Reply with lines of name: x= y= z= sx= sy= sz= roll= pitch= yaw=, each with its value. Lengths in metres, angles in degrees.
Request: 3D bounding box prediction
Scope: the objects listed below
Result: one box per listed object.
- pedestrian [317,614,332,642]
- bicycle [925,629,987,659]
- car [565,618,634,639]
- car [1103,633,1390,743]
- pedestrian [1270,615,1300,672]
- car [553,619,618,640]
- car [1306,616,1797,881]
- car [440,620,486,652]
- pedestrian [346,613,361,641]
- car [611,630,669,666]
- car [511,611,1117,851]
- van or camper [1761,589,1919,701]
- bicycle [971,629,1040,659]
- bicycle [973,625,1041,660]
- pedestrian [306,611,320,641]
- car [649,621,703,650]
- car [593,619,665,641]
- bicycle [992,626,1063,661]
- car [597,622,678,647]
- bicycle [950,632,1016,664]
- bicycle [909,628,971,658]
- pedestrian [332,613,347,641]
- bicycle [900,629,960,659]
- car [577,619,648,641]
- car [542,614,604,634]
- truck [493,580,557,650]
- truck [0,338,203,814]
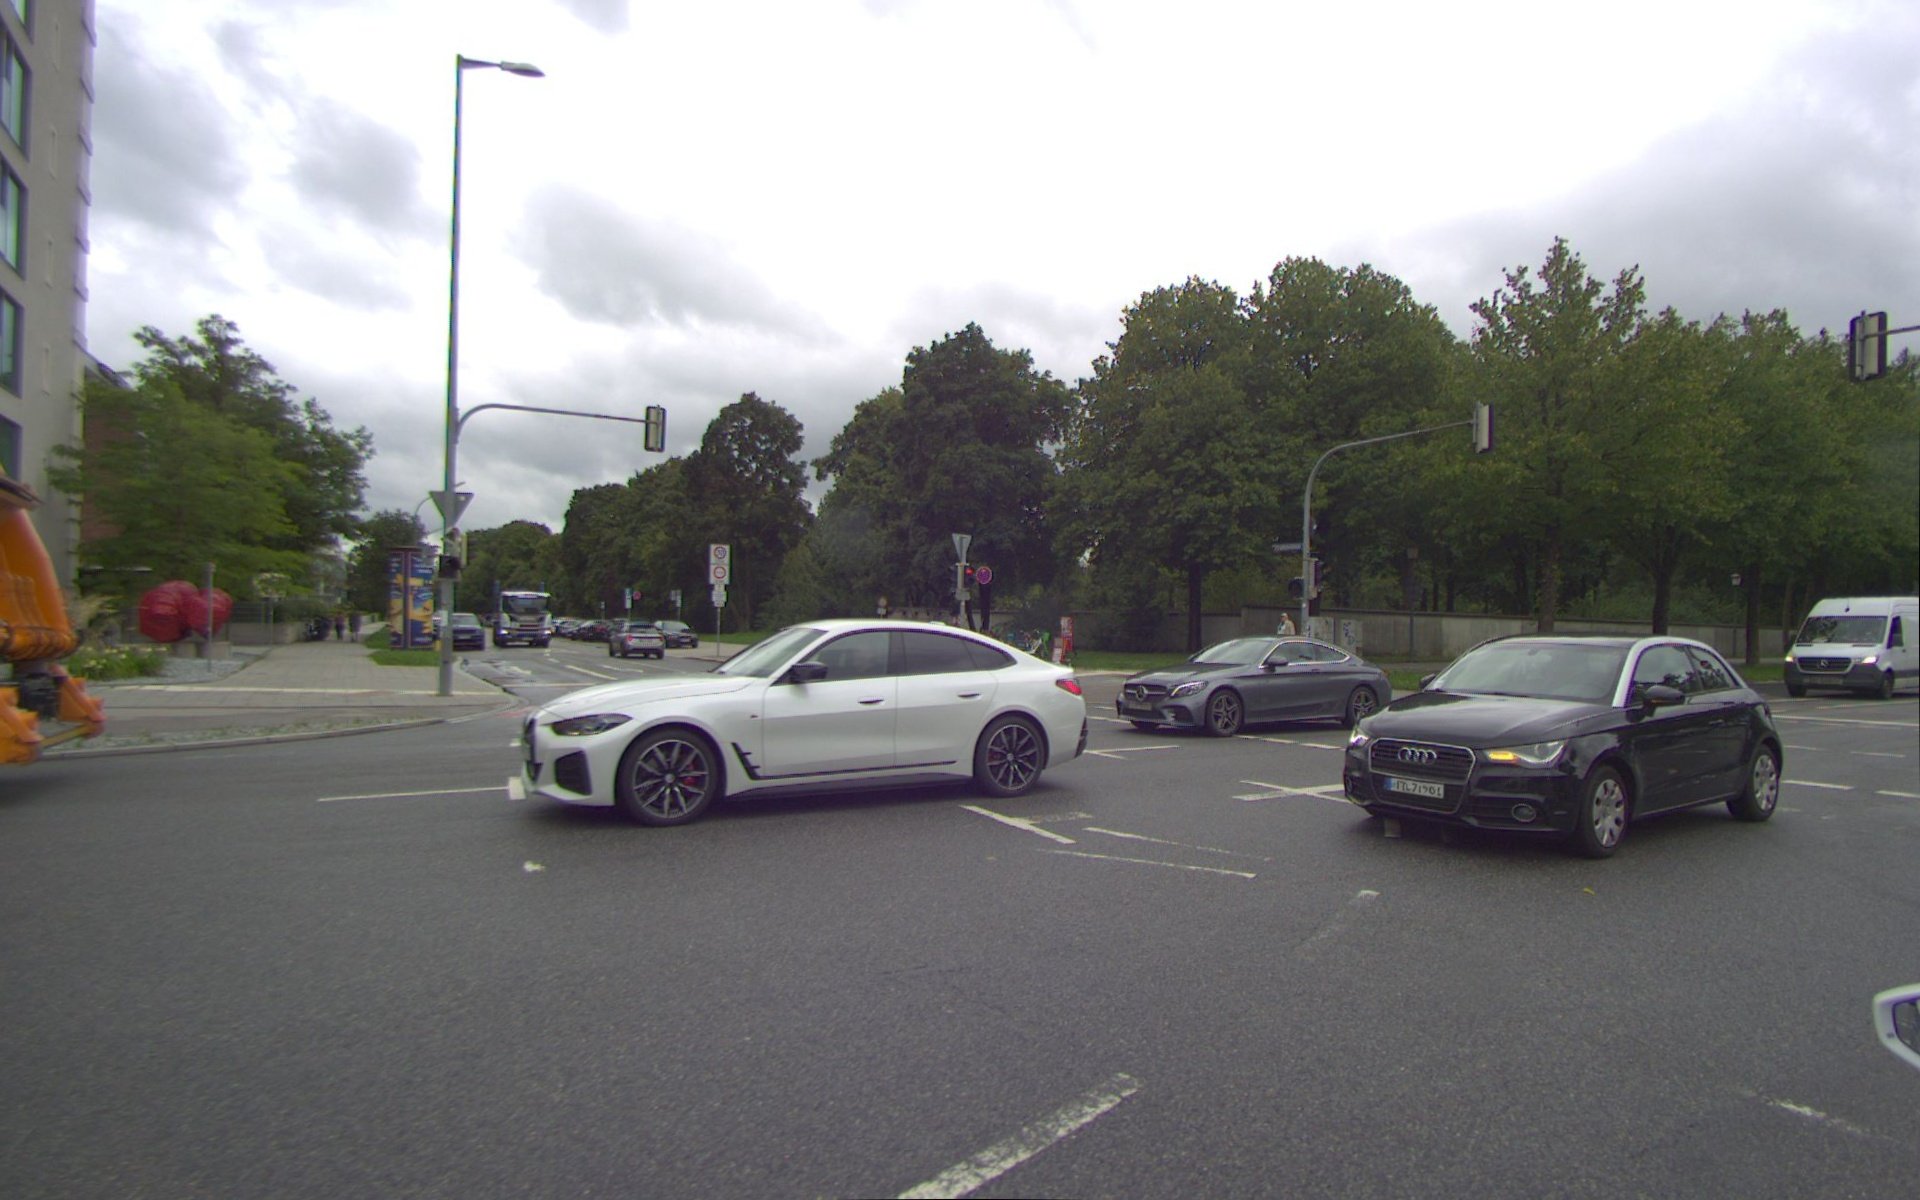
pedestrian: x=-32.728 y=1.435 z=51.740 sx=0.541 sy=1.433 sz=0.595 roll=2 pitch=-1 yaw=-41
bicycle: x=-0.152 y=1.785 z=40.844 sx=2.469 sy=1.201 sz=0.831 roll=2 pitch=-2 yaw=-32
car: x=-25.370 y=2.016 z=70.829 sx=1.900 sy=1.435 sz=4.191 roll=0 pitch=-1 yaw=43
car: x=4.293 y=1.232 z=14.911 sx=4.166 sy=1.434 sz=1.715 roll=2 pitch=-3 yaw=-30
pedestrian: x=10.319 y=1.371 z=31.906 sx=0.512 sy=1.763 sz=0.703 roll=1 pitch=-1 yaw=-35
car: x=-27.413 y=2.138 z=73.618 sx=1.814 sy=1.435 sz=4.202 roll=0 pitch=-1 yaw=35
car: x=4.477 y=0.911 z=7.473 sx=3.740 sy=1.506 sz=1.630 roll=2 pitch=-1 yaw=-32
car: x=-24.080 y=1.710 z=48.674 sx=1.902 sy=1.435 sz=4.186 roll=1 pitch=-1 yaw=-27
pedestrian: x=-31.401 y=1.405 z=51.973 sx=0.541 sy=1.433 sz=0.595 roll=2 pitch=-1 yaw=-41
car: x=-13.772 y=2.056 z=43.127 sx=1.906 sy=1.481 sz=4.340 roll=1 pitch=-3 yaw=-24
car: x=-1.062 y=0.899 z=8.337 sx=4.689 sy=1.506 sz=1.718 roll=2 pitch=-1 yaw=-32
van or camper: x=24.216 y=1.201 z=26.833 sx=6.872 sy=2.681 sz=2.167 roll=2 pitch=-3 yaw=-32
bicycle: x=1.866 y=1.804 z=41.093 sx=2.852 sy=1.202 sz=0.830 roll=2 pitch=-1 yaw=-32
bicycle: x=1.719 y=1.545 z=36.491 sx=2.469 sy=1.202 sz=0.830 roll=2 pitch=-1 yaw=-32
pedestrian: x=-31.663 y=1.271 z=49.155 sx=0.540 sy=1.433 sz=0.597 roll=3 pitch=-2 yaw=-35
car: x=-15.216 y=1.881 z=53.686 sx=1.823 sy=1.435 sz=4.182 roll=2 pitch=-1 yaw=-30
car: x=-21.993 y=2.000 z=66.848 sx=1.900 sy=1.435 sz=4.191 roll=0 pitch=-1 yaw=43
bicycle: x=2.378 y=1.519 z=35.308 sx=2.469 sy=1.202 sz=0.830 roll=2 pitch=-1 yaw=-32
car: x=-19.164 y=2.045 z=59.789 sx=4.184 sy=1.435 sz=1.903 roll=2 pitch=-1 yaw=-42
bicycle: x=0.893 y=1.833 z=38.500 sx=2.469 sy=1.202 sz=0.830 roll=2 pitch=-1 yaw=-32
bicycle: x=-0.821 y=1.791 z=41.759 sx=2.469 sy=1.202 sz=0.830 roll=2 pitch=-1 yaw=-32
pedestrian: x=-32.052 y=1.380 z=51.866 sx=0.541 sy=1.433 sz=0.595 roll=2 pitch=-1 yaw=-41
bicycle: x=-1.274 y=1.871 z=42.855 sx=2.469 sy=1.202 sz=0.830 roll=2 pitch=-1 yaw=-32
car: x=-23.675 y=2.075 z=68.596 sx=1.900 sy=1.435 sz=4.191 roll=0 pitch=-1 yaw=43
car: x=-29.937 y=1.852 z=77.805 sx=1.893 sy=1.435 sz=4.205 roll=1 pitch=-1 yaw=32
truck: x=-23.970 y=0.819 z=55.149 sx=2.736 sy=3.535 sz=7.770 roll=1 pitch=-1 yaw=-27
truck: x=-9.933 y=-0.239 z=6.914 sx=7.184 sy=3.400 sz=2.766 roll=2 pitch=-1 yaw=-32
